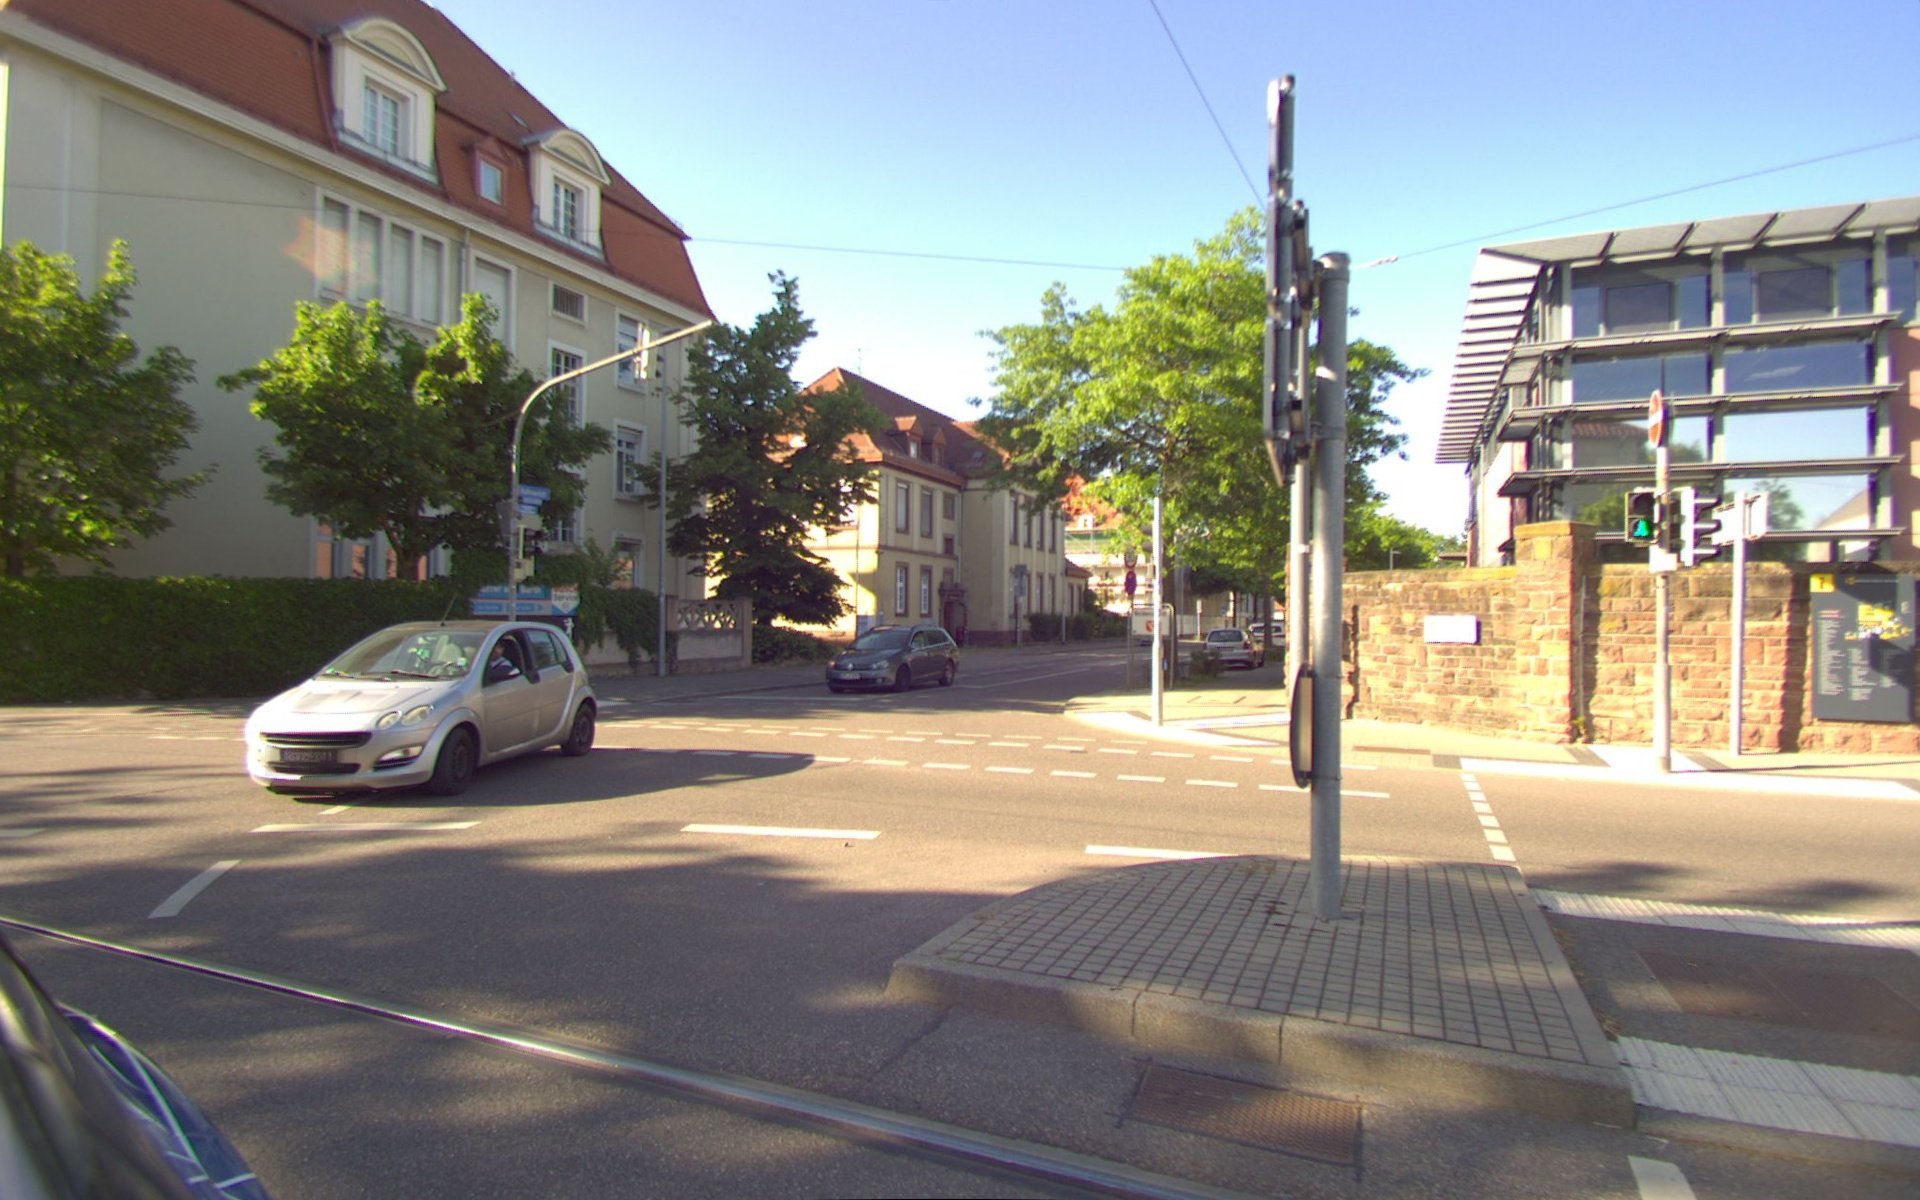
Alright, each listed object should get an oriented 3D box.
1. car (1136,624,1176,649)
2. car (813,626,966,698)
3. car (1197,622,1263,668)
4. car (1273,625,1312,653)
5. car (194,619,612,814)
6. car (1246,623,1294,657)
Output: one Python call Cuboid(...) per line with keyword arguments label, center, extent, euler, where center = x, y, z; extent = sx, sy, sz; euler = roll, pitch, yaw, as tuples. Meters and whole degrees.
Cuboid(label="car", center=(12.534, 2.303, 64.465), extent=(1.732, 1.469, 3.740), euler=(3, 0, 23))
Cuboid(label="car", center=(-1.477, 1.330, 23.035), extent=(1.732, 1.470, 4.371), euler=(0, -2, 23))
Cuboid(label="car", center=(9.358, 1.511, 34.926), extent=(1.732, 1.470, 3.740), euler=(0, -1, 23))
Cuboid(label="car", center=(18.331, 2.118, 55.725), extent=(1.732, 1.470, 3.740), euler=(0, -2, 23))
Cuboid(label="car", center=(-4.902, 0.931, 9.577), extent=(1.721, 1.470, 3.688), euler=(0, -2, 4))
Cuboid(label="car", center=(14.068, 1.787, 45.772), extent=(1.732, 1.470, 3.740), euler=(0, -2, 23))
